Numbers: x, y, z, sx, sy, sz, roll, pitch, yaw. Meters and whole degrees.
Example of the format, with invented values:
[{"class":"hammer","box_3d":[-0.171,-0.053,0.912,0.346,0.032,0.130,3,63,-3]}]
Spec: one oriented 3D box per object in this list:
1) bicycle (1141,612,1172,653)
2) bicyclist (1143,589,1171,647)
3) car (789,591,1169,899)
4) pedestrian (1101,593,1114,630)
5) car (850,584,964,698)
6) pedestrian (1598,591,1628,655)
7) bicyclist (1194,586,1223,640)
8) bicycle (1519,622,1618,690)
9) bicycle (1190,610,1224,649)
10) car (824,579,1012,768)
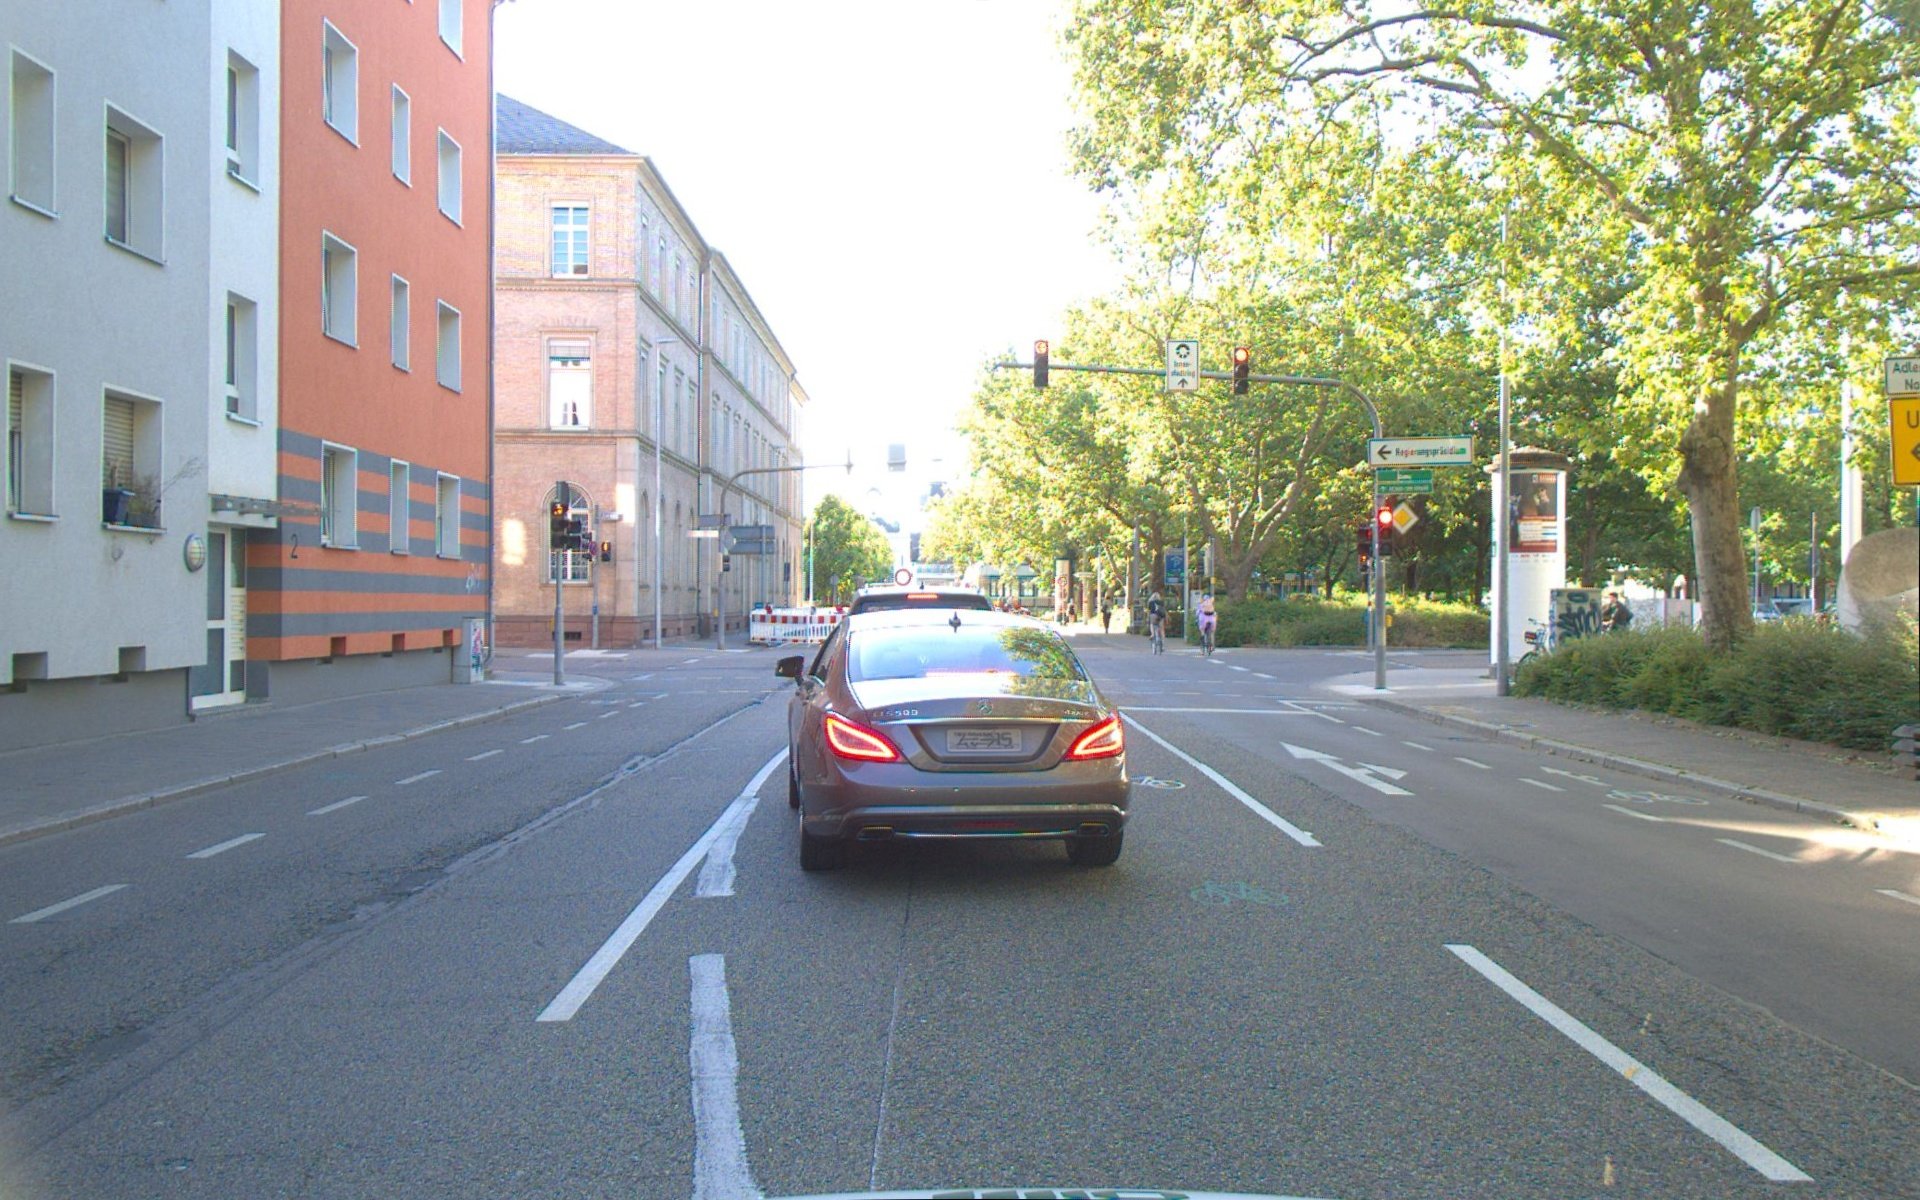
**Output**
[{"class":"bicycle","box_3d":[5.318,0.872,44.857,0.598,1.044,1.731,2,0,-1]},{"class":"bicyclist","box_3d":[5.331,0.485,44.791,0.598,1.542,0.889,2,0,-1]},{"class":"car","box_3d":[-0.113,0.712,10.369,1.787,1.502,4.346,0,0,-8]},{"class":"pedestrian","box_3d":[6.888,0.541,77.366,0.548,1.707,0.564,0,0,-1]},{"class":"car","box_3d":[-0.829,0.598,25.867,1.647,1.653,3.839,0,0,-2]},{"class":"pedestrian","box_3d":[18.671,0.657,47.310,0.607,1.815,0.630,0,0,1]},{"class":"bicyclist","box_3d":[6.726,0.347,44.850,0.588,1.426,0.931,2,0,-1]},{"class":"bicycle","box_3d":[9.693,0.888,26.345,1.387,1.055,0.538,0,0,-5]},{"class":"bicycle","box_3d":[6.702,0.792,44.929,0.588,1.002,1.881,2,0,-1]},{"class":"car","box_3d":[-0.435,0.646,16.419,1.647,1.653,3.839,0,0,-2]}]
